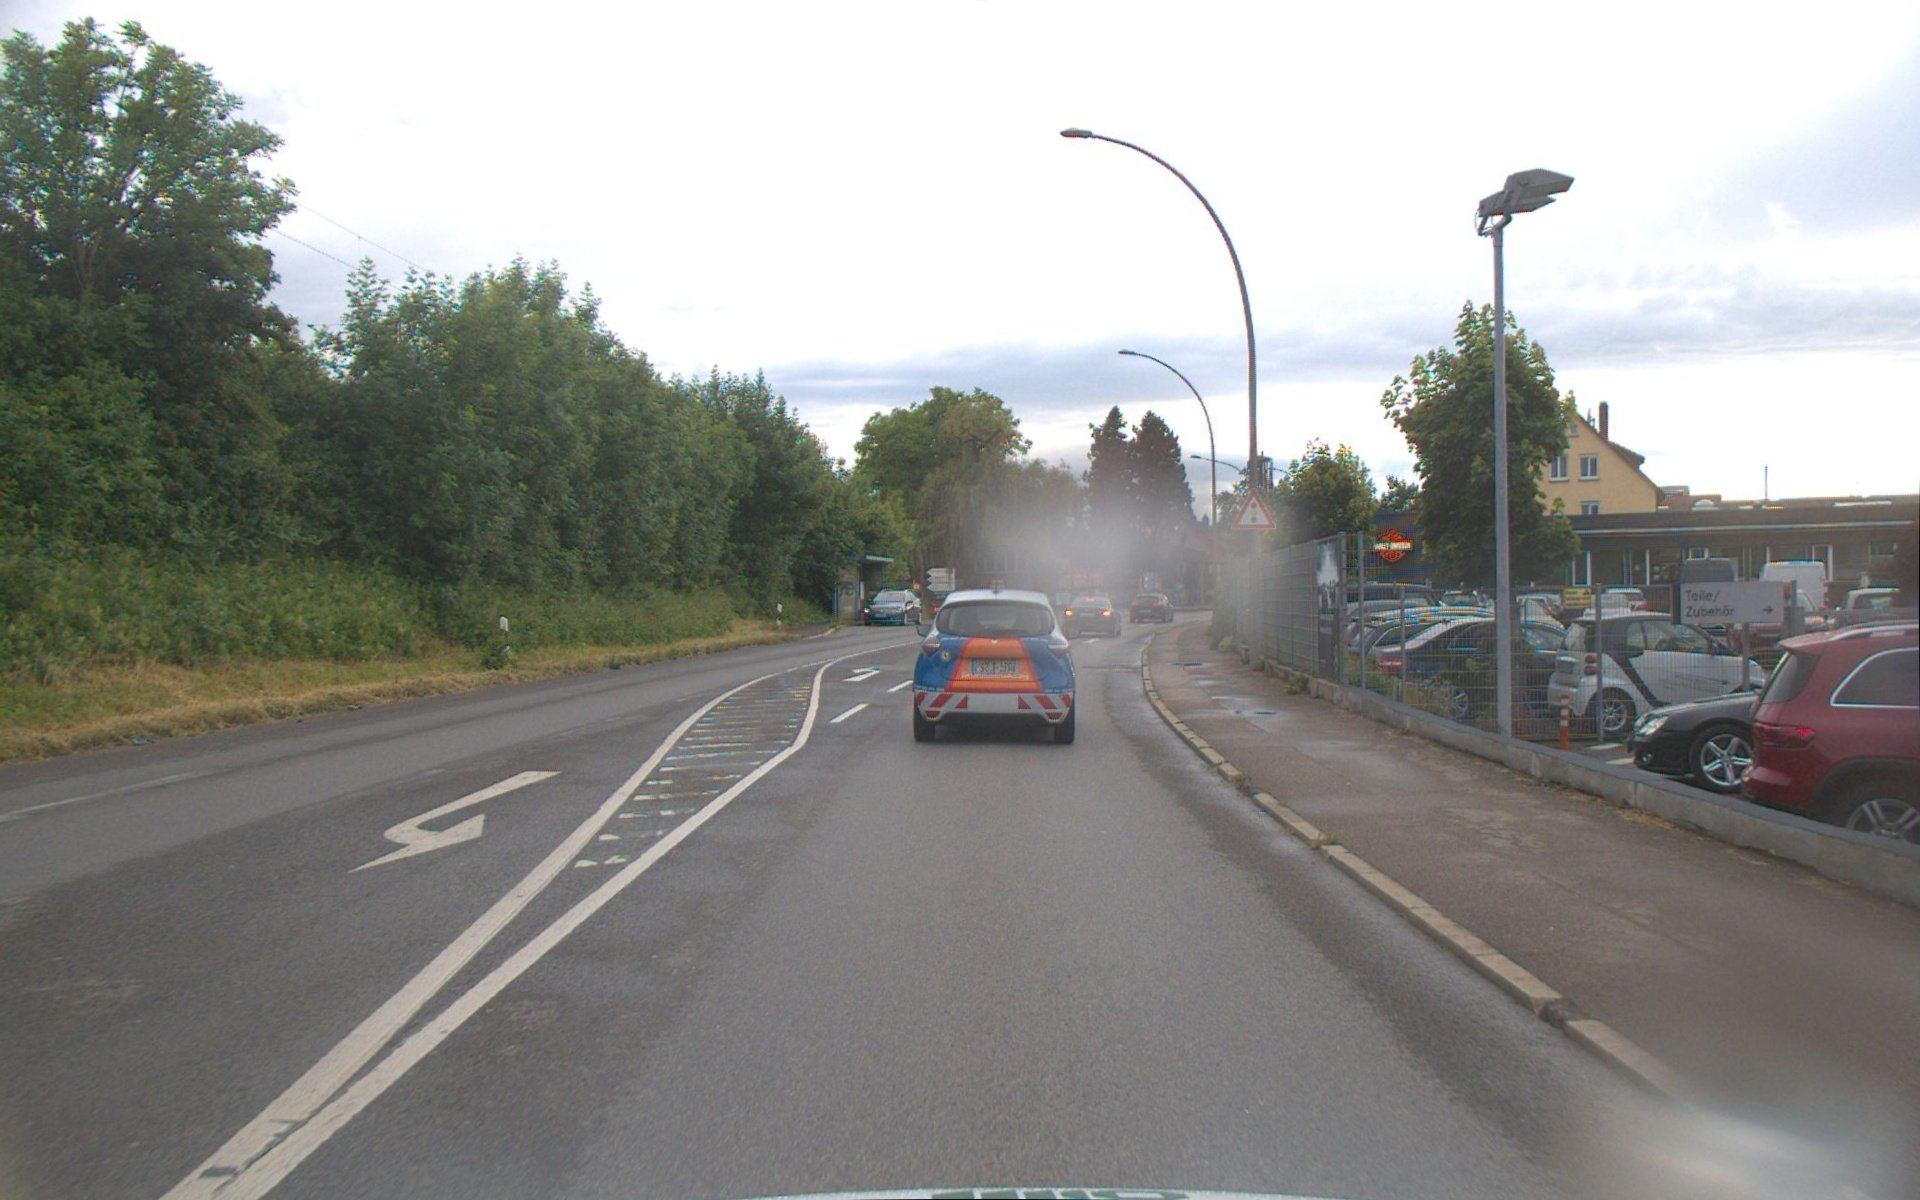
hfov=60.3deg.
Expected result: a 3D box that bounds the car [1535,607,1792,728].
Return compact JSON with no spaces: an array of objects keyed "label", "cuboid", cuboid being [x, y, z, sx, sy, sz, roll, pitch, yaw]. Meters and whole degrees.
[{"label":"car","cuboid":[9.493,0.898,22.518,2.661,1.470,2.001,-2,-1,4]}]

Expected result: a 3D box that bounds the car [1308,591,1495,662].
[{"label":"car","cuboid":[9.783,0.593,36.919,3.902,1.428,1.791,2,-1,11]}]

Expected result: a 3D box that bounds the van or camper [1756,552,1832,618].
[{"label":"van or camper","cuboid":[27.634,-0.454,54.927,1.954,1.972,5.427,1,-1,24]}]

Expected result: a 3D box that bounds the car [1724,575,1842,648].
[{"label":"car","cuboid":[17.726,0.287,35.767,1.953,1.445,3.999,1,-1,22]}]

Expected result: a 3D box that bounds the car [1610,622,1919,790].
[{"label":"car","cuboid":[8.591,0.978,16.059,4.072,1.466,1.808,0,0,29]}]

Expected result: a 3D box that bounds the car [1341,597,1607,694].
[{"label":"car","cuboid":[8.483,0.745,27.488,3.905,1.433,1.593,2,-1,0]}]

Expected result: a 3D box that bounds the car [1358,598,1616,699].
[{"label":"car","cuboid":[9.399,0.858,29.793,4.085,1.626,1.970,2,-1,6]}]

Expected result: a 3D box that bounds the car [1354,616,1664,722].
[{"label":"car","cuboid":[8.169,1.008,24.928,4.022,1.394,2.001,2,-1,3]}]

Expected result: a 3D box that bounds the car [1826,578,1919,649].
[{"label":"car","cuboid":[20.744,0.335,37.060,1.953,1.445,3.999,2,-1,22]}]

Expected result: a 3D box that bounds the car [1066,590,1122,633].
[{"label":"car","cuboid":[4.707,0.418,57.522,1.684,1.400,3.936,2,-1,8]}]

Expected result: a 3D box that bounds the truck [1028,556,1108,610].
[{"label":"truck","cuboid":[7.832,-1.169,118.592,2.644,3.471,9.066,1,-1,24]}]

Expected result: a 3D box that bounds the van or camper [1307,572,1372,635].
[{"label":"van or camper","cuboid":[16.999,0.119,73.909,1.999,2.638,6.591,-1,0,20]}]

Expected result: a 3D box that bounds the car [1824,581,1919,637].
[{"label":"car","cuboid":[26.010,0.270,44.803,4.545,1.425,1.718,1,-1,27]}]

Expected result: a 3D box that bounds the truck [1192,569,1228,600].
[{"label":"truck","cuboid":[25.636,-1.579,169.622,2.345,2.978,5.956,1,0,21]}]

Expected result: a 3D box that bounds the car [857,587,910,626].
[{"label":"car","cuboid":[-3.193,0.302,69.820,1.952,1.500,4.700,2,-1,0]}]

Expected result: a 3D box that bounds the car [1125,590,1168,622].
[{"label":"car","cuboid":[9.159,0.307,81.008,1.951,1.445,4.003,2,-1,7]}]

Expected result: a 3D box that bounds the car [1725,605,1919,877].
[{"label":"car","cuboid":[7.583,0.958,10.794,4.593,1.691,1.997,1,-1,28]}]

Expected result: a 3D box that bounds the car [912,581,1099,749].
[{"label":"car","cuboid":[0.499,0.634,18.401,1.849,1.660,4.001,0,0,1]}]

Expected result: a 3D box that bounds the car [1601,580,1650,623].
[{"label":"car","cuboid":[25.562,0.036,63.620,1.604,1.599,3.397,-1,0,20]}]

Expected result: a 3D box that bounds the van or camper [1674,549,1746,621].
[{"label":"van or camper","cuboid":[28.701,-0.574,63.433,2.285,2.601,5.739,-1,0,22]}]
